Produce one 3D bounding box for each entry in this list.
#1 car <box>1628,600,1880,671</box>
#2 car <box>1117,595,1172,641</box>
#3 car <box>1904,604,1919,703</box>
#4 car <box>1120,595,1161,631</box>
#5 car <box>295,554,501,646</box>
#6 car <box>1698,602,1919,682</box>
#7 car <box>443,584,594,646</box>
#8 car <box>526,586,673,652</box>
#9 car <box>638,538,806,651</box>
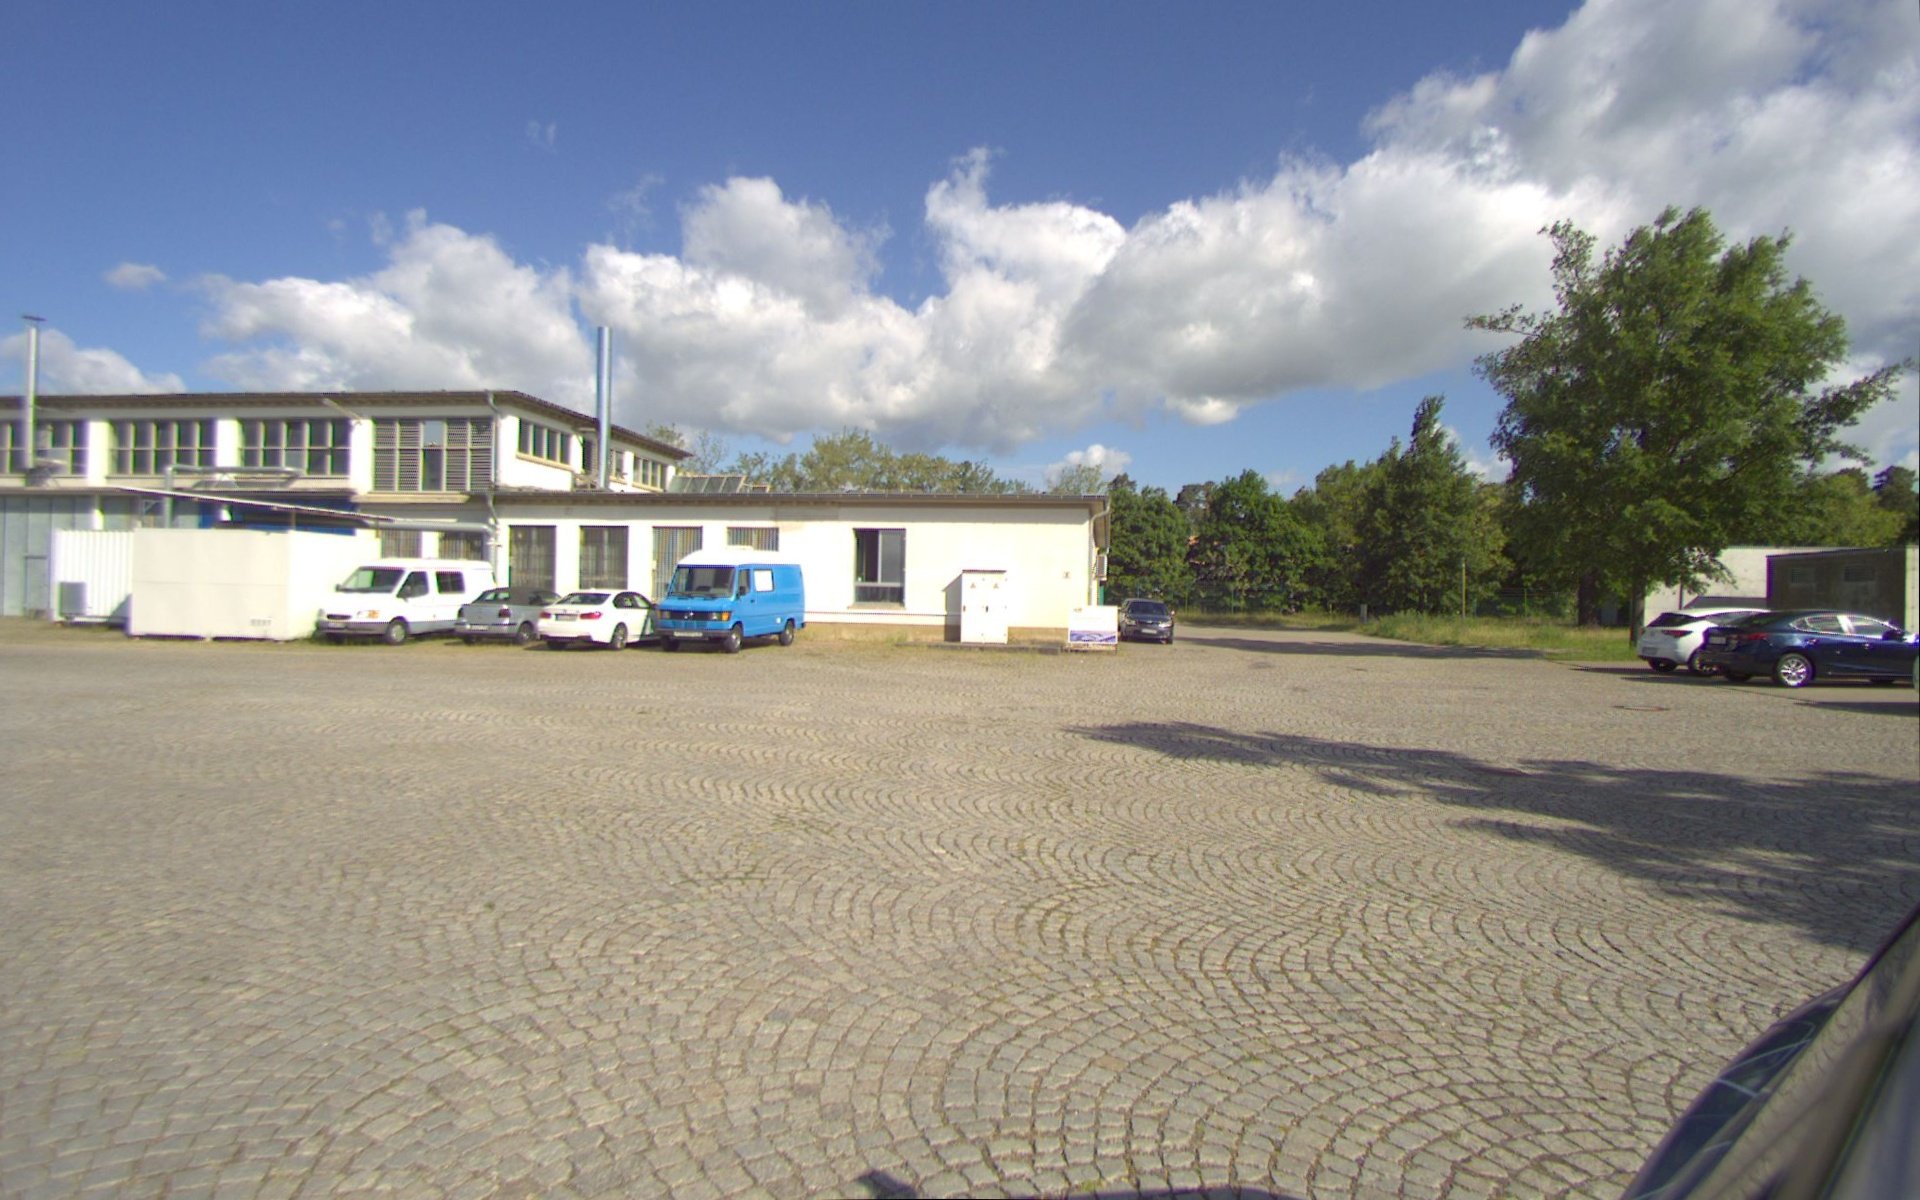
[{"bbox_3d":[17.080,0.753,21.976,3.862,1.454,1.790,-1,0,10],"label":"car"},{"bbox_3d":[6.402,0.588,35.315,1.740,1.453,3.981,2,0,9],"label":"car"},{"bbox_3d":[16.118,0.779,14.160,3.862,1.465,1.750,-1,0,10],"label":"car"},{"bbox_3d":[7.963,0.557,44.767,1.665,1.453,3.976,2,0,9],"label":"car"},{"bbox_3d":[-14.138,-0.055,25.842,1.978,2.107,4.789,1,1,12],"label":"car"},{"bbox_3d":[16.755,0.775,19.345,3.862,1.435,1.687,-1,0,10],"label":"car"},{"bbox_3d":[-11.206,0.353,25.959,1.666,1.416,3.818,1,0,11],"label":"car"},{"bbox_3d":[-8.625,0.402,24.549,1.710,1.423,3.727,0,1,11],"label":"car"},{"bbox_3d":[-5.739,-0.132,25.232,2.057,2.514,5.220,1,0,11],"label":"car"}]
